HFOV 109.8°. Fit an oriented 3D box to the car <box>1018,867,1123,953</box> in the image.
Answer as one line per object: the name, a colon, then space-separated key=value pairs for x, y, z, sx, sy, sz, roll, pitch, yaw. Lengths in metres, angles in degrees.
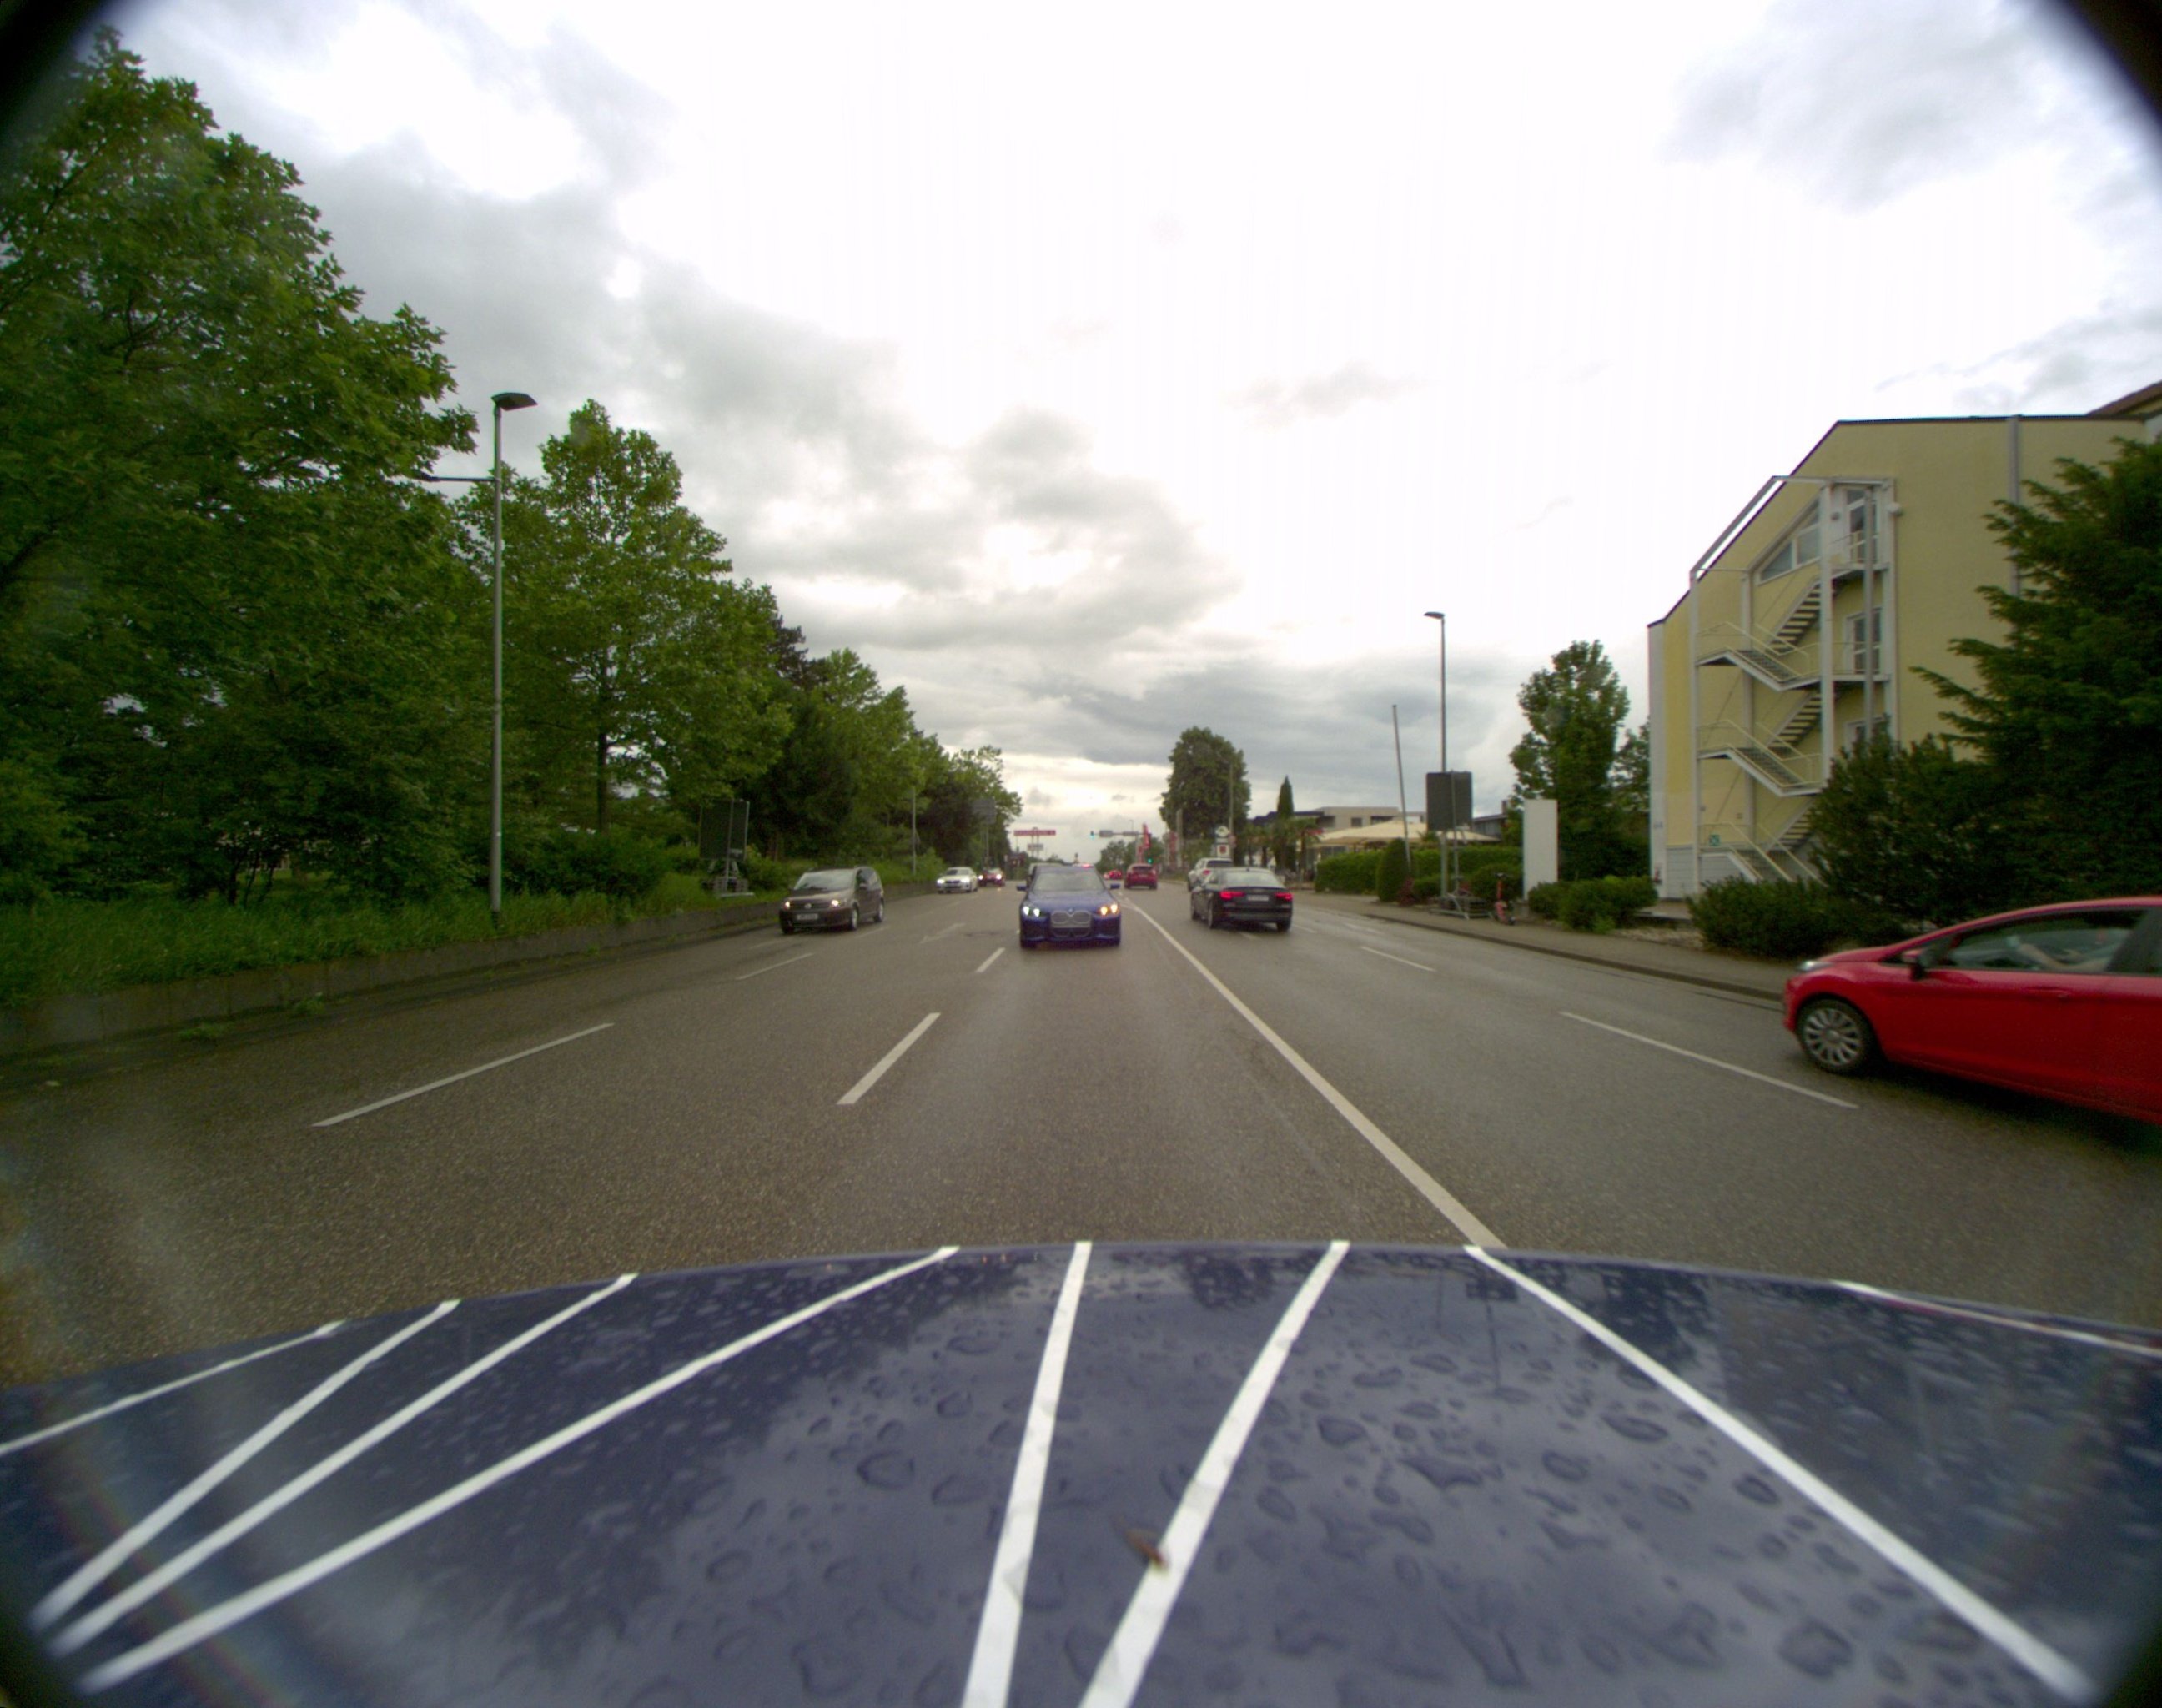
car: x=-0.229 y=1.028 z=15.426 sx=1.784 sy=1.447 sz=4.598 roll=-1 pitch=-2 yaw=-1

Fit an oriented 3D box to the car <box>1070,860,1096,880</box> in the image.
car: x=0.121 y=1.269 z=61.177 sx=1.792 sy=1.571 sz=4.238 roll=-1 pitch=0 yaw=-4

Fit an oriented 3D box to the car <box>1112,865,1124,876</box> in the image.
car: x=5.644 y=2.511 z=116.630 sx=1.641 sy=1.524 sz=3.972 roll=1 pitch=-1 yaw=0

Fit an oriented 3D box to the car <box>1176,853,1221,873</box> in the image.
car: x=12.618 y=0.992 z=81.674 sx=4.407 sy=2.001 sz=1.996 roll=2 pitch=-2 yaw=-28

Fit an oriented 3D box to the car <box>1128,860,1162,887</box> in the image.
car: x=3.642 y=1.116 z=43.947 sx=1.685 sy=1.411 sz=3.841 roll=2 pitch=0 yaw=1

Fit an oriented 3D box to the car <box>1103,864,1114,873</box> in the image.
car: x=4.832 y=2.538 z=131.825 sx=1.640 sy=1.468 sz=4.047 roll=0 pitch=-1 yaw=5

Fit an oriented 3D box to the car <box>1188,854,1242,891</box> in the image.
car: x=6.882 y=0.885 z=39.616 sx=1.922 sy=1.752 sz=5.143 roll=2 pitch=0 yaw=1

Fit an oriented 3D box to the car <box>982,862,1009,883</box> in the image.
car: x=-6.379 y=1.382 z=56.772 sx=1.634 sy=1.447 sz=3.539 roll=-1 pitch=-2 yaw=-1

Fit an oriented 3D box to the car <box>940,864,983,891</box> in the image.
car: x=-6.853 y=1.370 z=43.887 sx=1.784 sy=1.447 sz=4.680 roll=-1 pitch=-2 yaw=-1

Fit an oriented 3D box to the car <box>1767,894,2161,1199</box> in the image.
car: x=6.391 y=1.068 z=4.303 sx=1.636 sy=1.448 sz=3.702 roll=2 pitch=0 yaw=0

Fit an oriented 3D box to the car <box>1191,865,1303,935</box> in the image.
car: x=3.830 y=1.009 z=18.256 sx=1.897 sy=1.395 sz=4.265 roll=1 pitch=0 yaw=3

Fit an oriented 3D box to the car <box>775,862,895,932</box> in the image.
car: x=-6.234 y=1.057 z=19.733 sx=1.751 sy=1.599 sz=3.981 roll=-1 pitch=-2 yaw=1

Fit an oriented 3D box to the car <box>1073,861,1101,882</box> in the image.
car: x=0.400 y=1.297 z=56.726 sx=1.754 sy=1.499 sz=4.300 roll=0 pitch=0 yaw=-3
